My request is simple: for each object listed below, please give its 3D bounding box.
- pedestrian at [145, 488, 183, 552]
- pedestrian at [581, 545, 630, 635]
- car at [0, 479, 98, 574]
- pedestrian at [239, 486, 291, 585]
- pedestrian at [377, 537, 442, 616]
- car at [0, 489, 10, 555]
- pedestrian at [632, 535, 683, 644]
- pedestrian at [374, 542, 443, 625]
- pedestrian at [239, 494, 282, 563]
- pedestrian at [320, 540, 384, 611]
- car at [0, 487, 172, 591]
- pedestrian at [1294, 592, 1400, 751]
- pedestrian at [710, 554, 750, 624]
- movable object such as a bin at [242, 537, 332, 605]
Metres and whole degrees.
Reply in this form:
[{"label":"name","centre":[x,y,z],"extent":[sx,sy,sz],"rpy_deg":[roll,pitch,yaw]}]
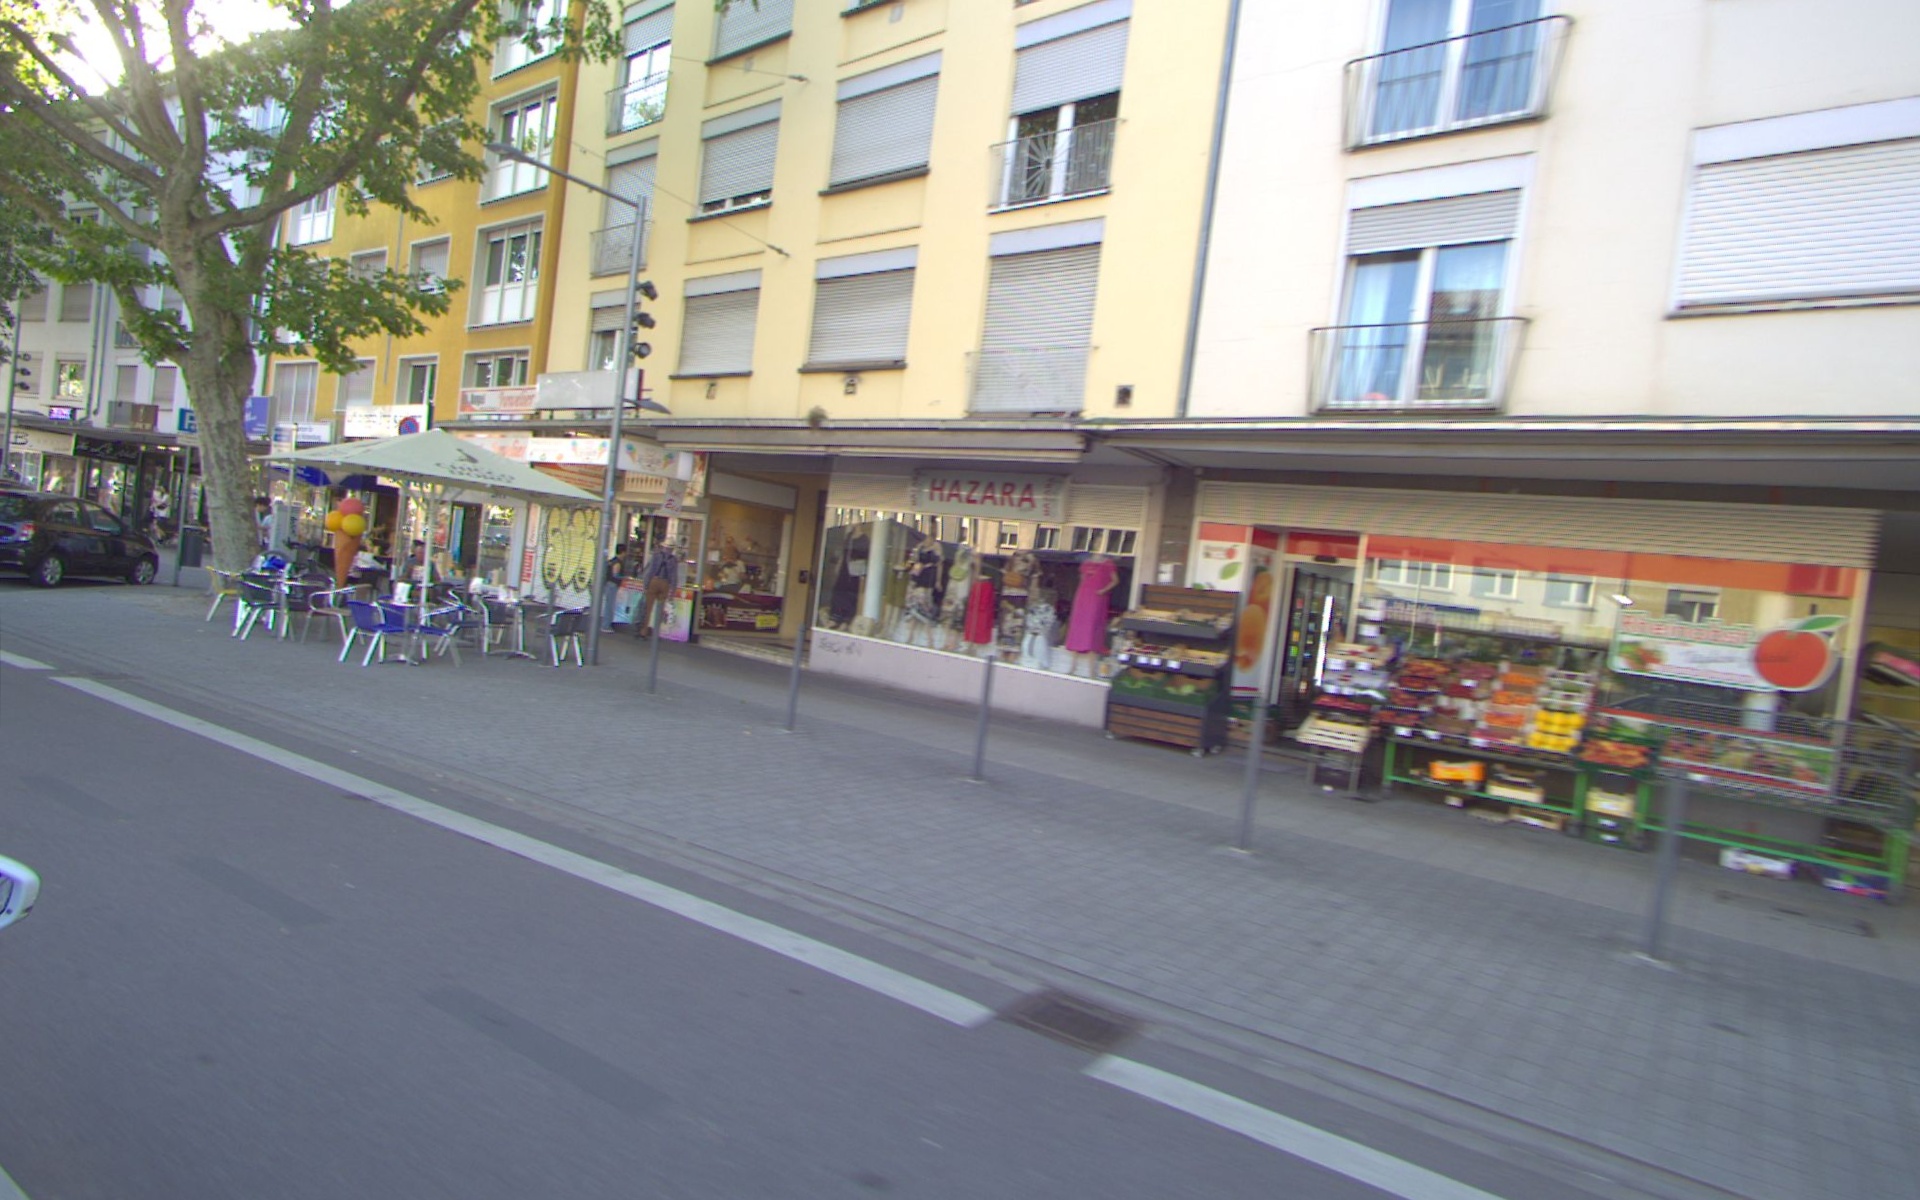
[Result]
[{"label":"pedestrian","centre":[-24.776,-2.486,31.317],"extent":[0.812,1.900,0.642],"rpy_deg":[7,2,39]},{"label":"pedestrian","centre":[-6.546,-0.185,18.552],"extent":[0.619,1.566,0.633],"rpy_deg":[6,1,-28]},{"label":"car","centre":[-18.406,-1.455,18.562],"extent":[1.779,1.702,4.143],"rpy_deg":[6,0,-10]},{"label":"pedestrian","centre":[-13.653,-1.261,19.769],"extent":[0.466,1.855,0.517],"rpy_deg":[7,1,9]},{"label":"pedestrian","centre":[-9.826,-0.421,17.950],"extent":[0.746,1.290,0.584],"rpy_deg":[7,0,31]},{"label":"car","centre":[-22.164,-1.824,20.555],"extent":[1.778,1.469,4.172],"rpy_deg":[6,0,-7]},{"label":"pedestrian","centre":[-5.304,-0.190,17.632],"extent":[0.629,1.827,0.623],"rpy_deg":[6,1,-23]},{"label":"pedestrian","centre":[-8.955,-0.265,16.335],"extent":[0.732,1.240,0.606],"rpy_deg":[7,1,31]},{"label":"pedestrian","centre":[-19.322,-1.981,27.788],"extent":[0.775,1.816,0.705],"rpy_deg":[8,5,36]},{"label":"pedestrian","centre":[-10.759,-0.428,17.815],"extent":[0.738,1.128,0.584],"rpy_deg":[7,0,31]},{"label":"car","centre":[-15.653,-1.049,17.263],"extent":[1.712,1.560,3.601],"rpy_deg":[6,0,-10]},{"label":"pedestrian","centre":[4.676,0.856,12.146],"extent":[0.866,1.764,0.684],"rpy_deg":[7,0,34]},{"label":"pedestrian","centre":[-4.532,-0.217,19.806],"extent":[0.500,1.313,0.426],"rpy_deg":[7,2,35]},{"label":"movable object such as a bin","centre":[-12.033,-0.506,18.019],"extent":[0.824,1.035,0.930],"rpy_deg":[7,-1,10]}]
